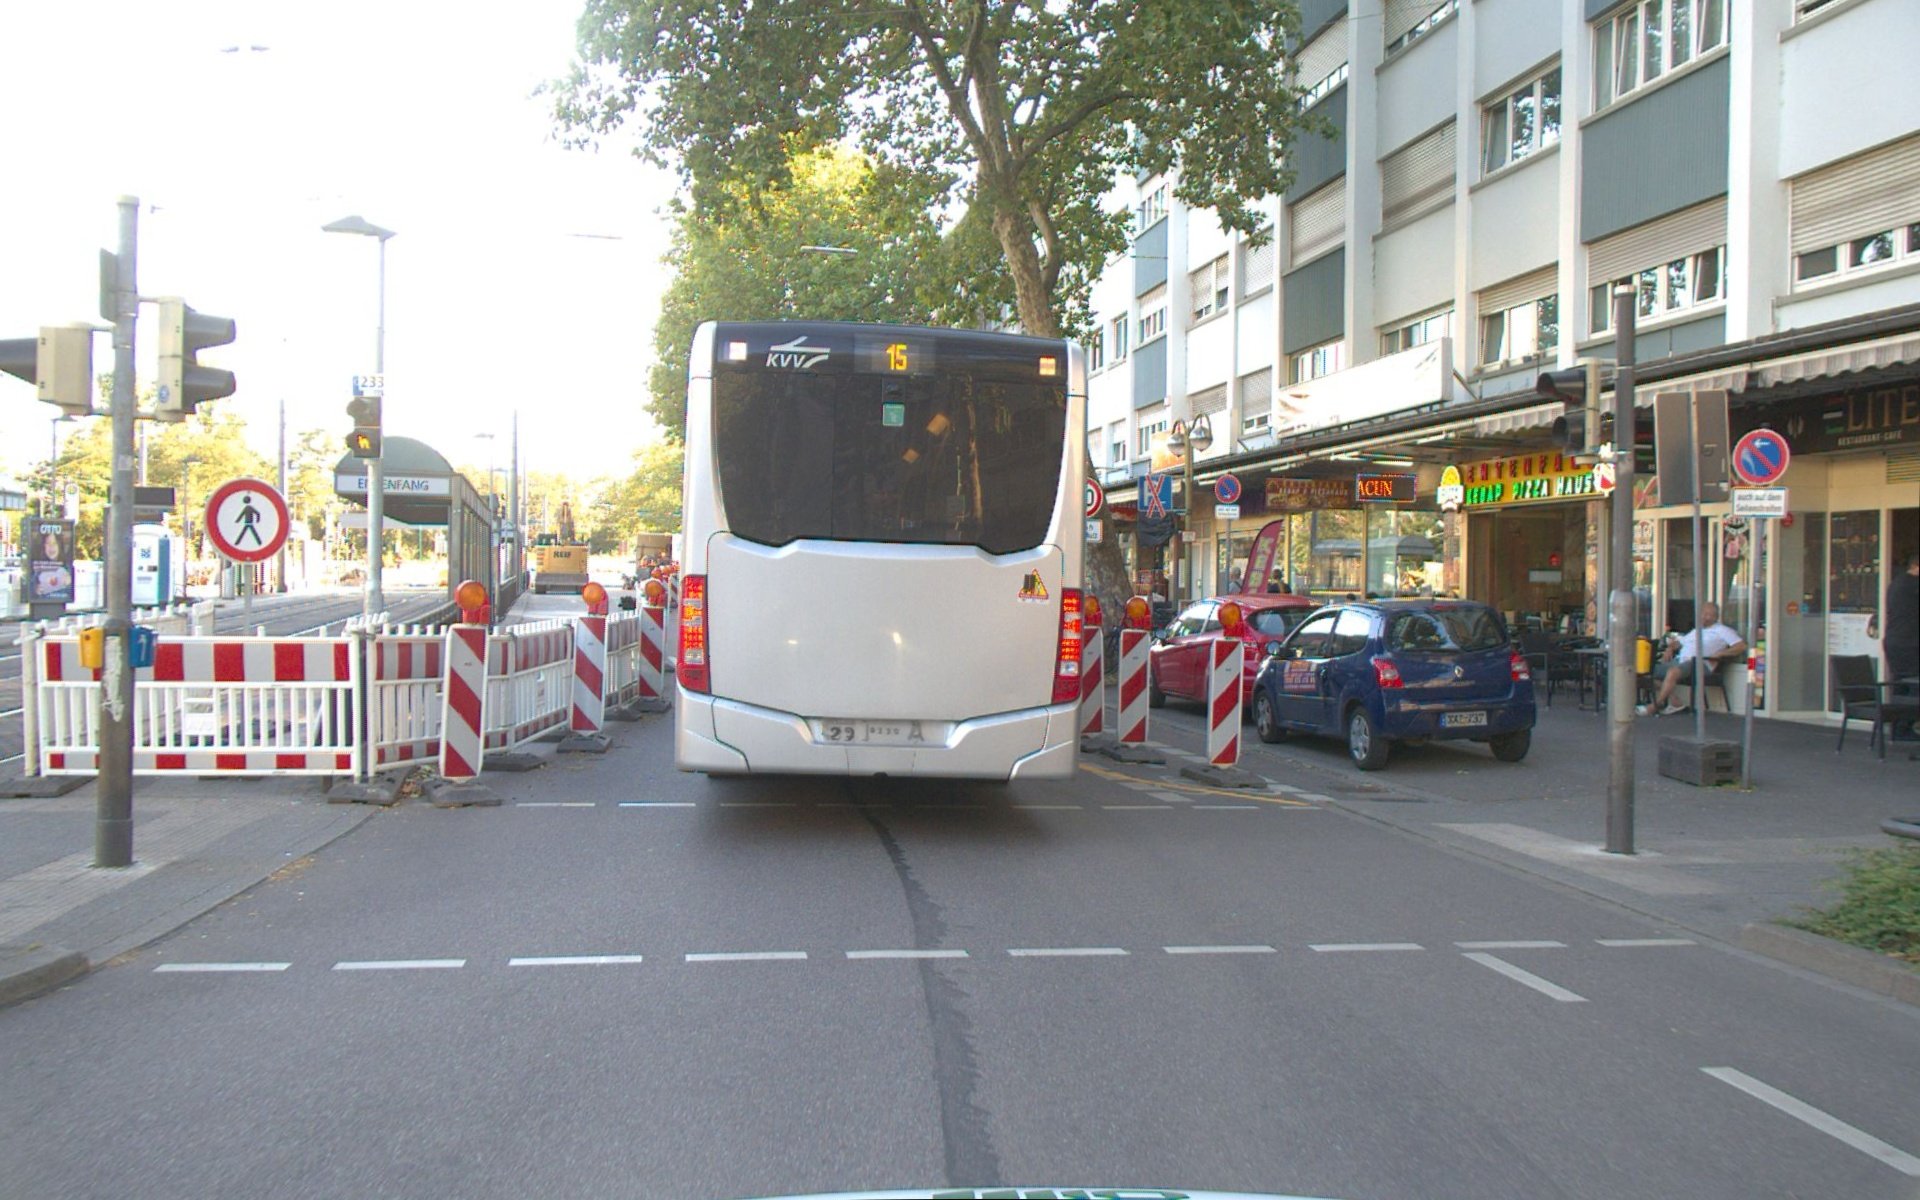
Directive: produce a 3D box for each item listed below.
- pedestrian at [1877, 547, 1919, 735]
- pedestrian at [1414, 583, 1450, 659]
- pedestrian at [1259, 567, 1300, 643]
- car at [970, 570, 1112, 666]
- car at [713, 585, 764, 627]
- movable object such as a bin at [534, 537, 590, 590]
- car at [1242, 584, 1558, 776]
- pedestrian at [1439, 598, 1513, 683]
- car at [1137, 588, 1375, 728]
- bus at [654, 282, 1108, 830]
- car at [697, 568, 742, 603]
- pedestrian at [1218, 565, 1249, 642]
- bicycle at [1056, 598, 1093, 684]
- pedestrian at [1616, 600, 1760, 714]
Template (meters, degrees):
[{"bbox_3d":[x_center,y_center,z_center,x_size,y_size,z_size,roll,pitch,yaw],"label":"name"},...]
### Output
[{"bbox_3d":[8.980,0.385,15.646,0.350,1.748,0.309,2,1,-3],"label":"pedestrian"},{"bbox_3d":[7.177,0.316,25.146,0.380,1.141,0.392,1,1,-11],"label":"pedestrian"},{"bbox_3d":[5.424,0.083,28.074,0.581,1.278,0.392,1,1,-9],"label":"pedestrian"},{"bbox_3d":[1.358,0.259,29.010,1.633,1.494,3.403,-2,2,-12],"label":"car"},{"bbox_3d":[-8.198,0.194,61.566,1.722,1.489,3.996,1,1,-6],"label":"car"},{"bbox_3d":[-19.503,-1.778,81.214,2.450,2.520,5.340,1,1,-12],"label":"movable object such as a bin"},{"bbox_3d":[4.120,0.671,16.039,1.632,1.543,3.404,-2,2,-11],"label":"car"},{"bbox_3d":[7.112,0.552,22.834,0.692,1.128,0.765,1,1,-10],"label":"pedestrian"},{"bbox_3d":[3.479,0.626,20.052,1.633,1.419,3.402,-2,2,-12],"label":"car"},{"bbox_3d":[-0.970,-0.285,14.743,2.607,3.152,10.203,1,0,-6],"label":"bus"},{"bbox_3d":[-10.803,-0.667,74.124,1.725,1.489,3.989,1,1,-12],"label":"car"},{"bbox_3d":[4.566,0.053,27.626,0.380,1.278,0.392,1,1,-11],"label":"pedestrian"},{"bbox_3d":[1.763,0.601,25.312,0.496,1.232,2.094,1,1,5],"label":"bicycle"},{"bbox_3d":[8.176,0.630,18.620,1.156,1.217,0.924,1,1,-10],"label":"pedestrian"}]
